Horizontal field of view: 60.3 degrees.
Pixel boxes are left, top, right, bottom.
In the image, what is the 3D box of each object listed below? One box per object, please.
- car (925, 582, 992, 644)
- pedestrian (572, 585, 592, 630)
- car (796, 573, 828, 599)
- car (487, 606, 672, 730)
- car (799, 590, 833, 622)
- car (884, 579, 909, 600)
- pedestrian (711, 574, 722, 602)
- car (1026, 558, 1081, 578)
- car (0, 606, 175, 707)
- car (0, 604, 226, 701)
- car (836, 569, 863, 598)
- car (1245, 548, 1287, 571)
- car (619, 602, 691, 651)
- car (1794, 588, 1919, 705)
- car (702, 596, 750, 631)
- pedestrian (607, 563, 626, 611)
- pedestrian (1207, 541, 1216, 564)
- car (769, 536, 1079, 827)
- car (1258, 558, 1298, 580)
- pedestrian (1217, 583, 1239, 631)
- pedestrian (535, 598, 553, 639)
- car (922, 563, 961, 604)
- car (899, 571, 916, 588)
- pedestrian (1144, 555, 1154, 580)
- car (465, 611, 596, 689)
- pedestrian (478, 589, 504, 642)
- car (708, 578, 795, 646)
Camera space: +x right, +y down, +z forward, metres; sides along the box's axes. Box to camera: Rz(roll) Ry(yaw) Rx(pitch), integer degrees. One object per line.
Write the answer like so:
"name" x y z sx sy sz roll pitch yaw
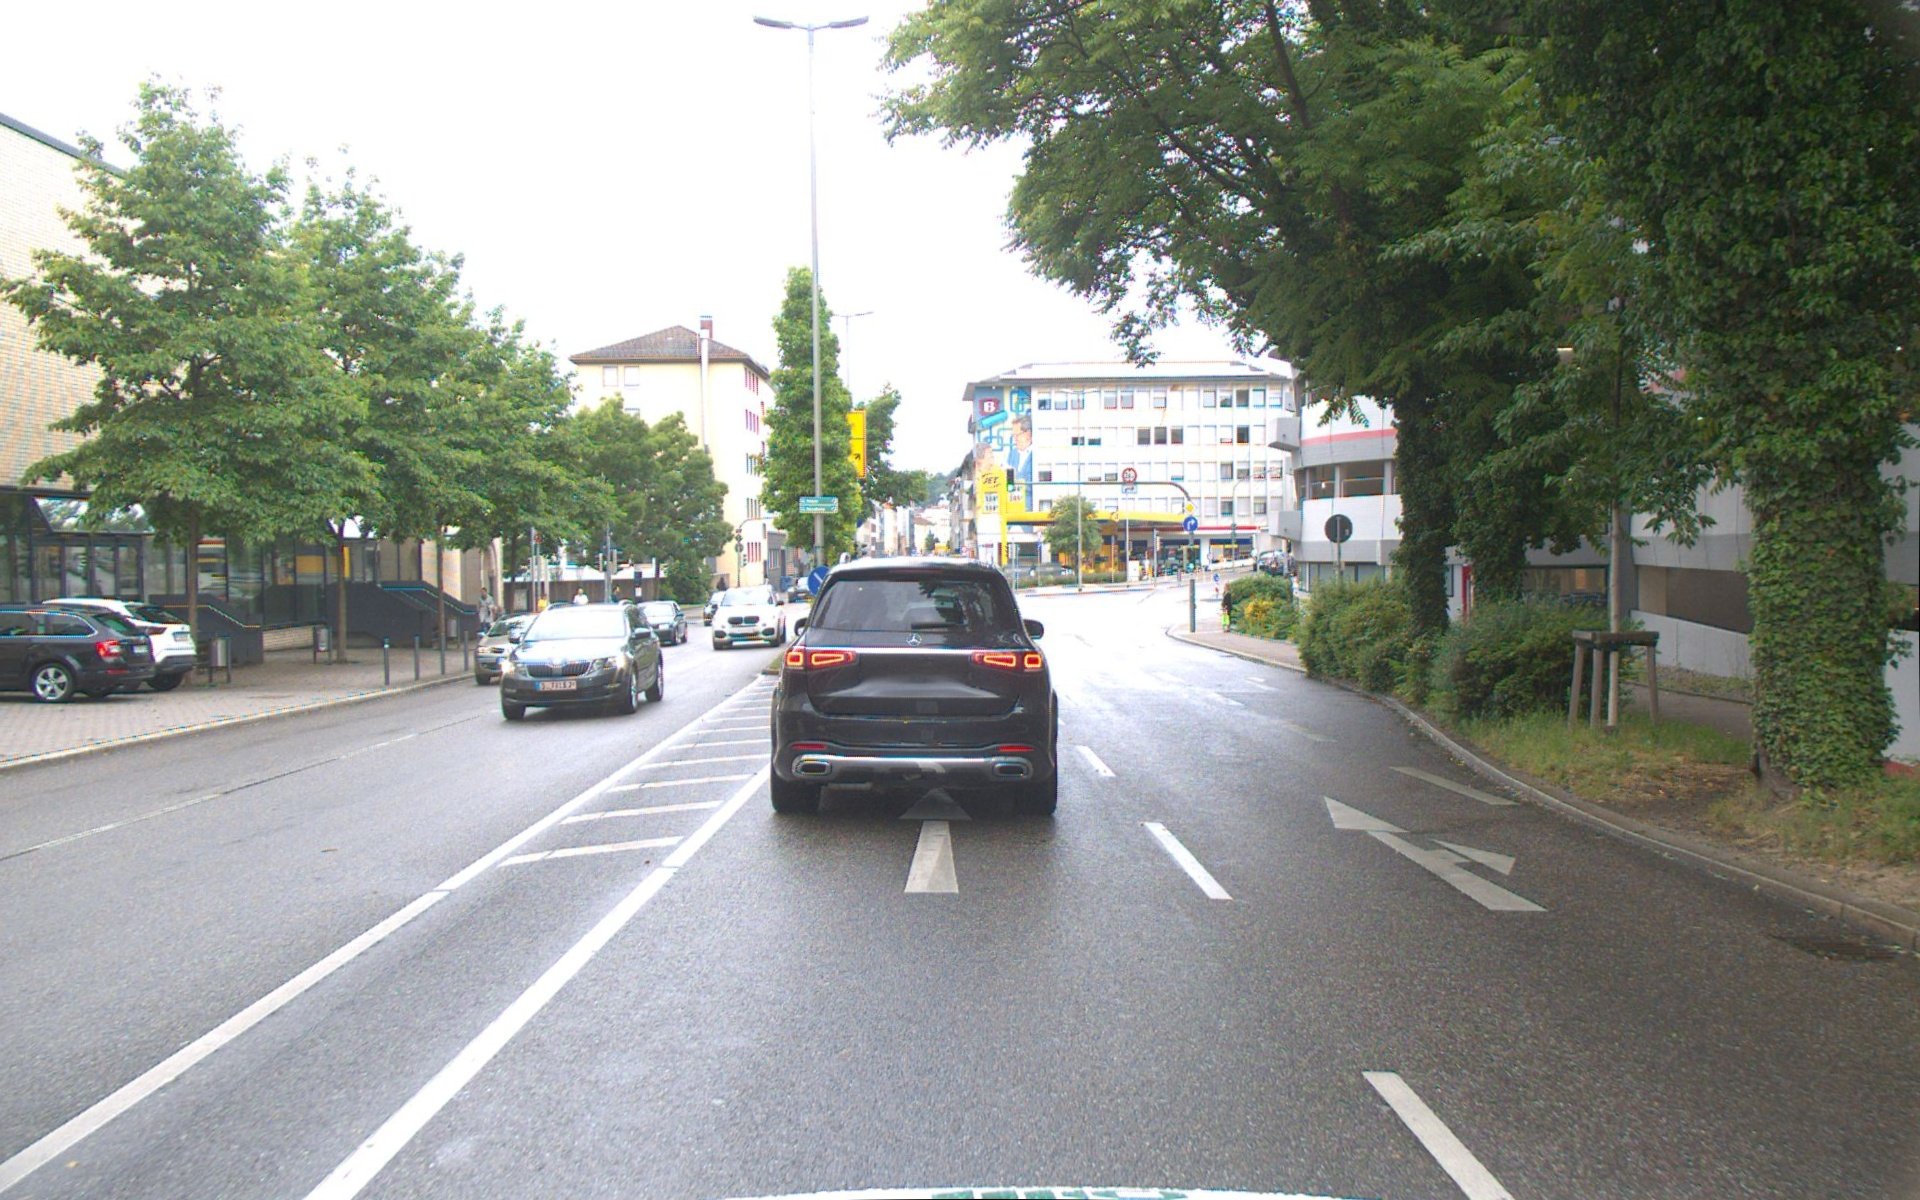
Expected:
"car" -0.073 0.414 51.604 1.953 1.832 3.999 1 -1 -1
"pedestrian" -14.639 0.282 64.054 0.676 1.685 0.612 -1 1 -8
"car" -9.811 -0.924 109.976 1.851 1.614 4.535 -3 0 -2
"car" -5.237 0.877 23.307 1.776 1.488 4.285 -3 0 -3
"car" -8.042 0.318 92.868 1.698 1.654 4.229 -3 1 -3
"car" -5.144 -0.839 134.075 1.954 1.642 4.186 1 0 -3
"pedestrian" -15.396 -0.740 104.512 0.635 1.757 0.628 -2 1 -5
"car" 6.967 -2.400 123.105 1.724 1.400 3.935 -2 1 -44
"car" -15.088 0.868 26.473 4.097 1.521 1.997 1 -1 -8
"car" -15.290 0.882 28.772 4.090 1.574 2.000 1 -1 0
"car" -7.756 -1.158 116.243 1.757 1.886 4.790 -3 0 -3
"car" 24.704 -3.273 133.368 1.958 1.735 3.990 -1 1 33
"car" -9.915 0.822 53.955 1.710 1.437 3.969 -3 0 -3
"car" 15.520 0.717 26.621 3.381 1.814 1.817 0 0 11
"car" -10.326 0.598 73.346 1.698 1.418 4.197 -3 0 -3
"pedestrian" -12.844 -0.501 61.920 0.675 1.788 0.716 -1 1 -12
"pedestrian" 19.995 -3.769 131.606 0.515 1.757 0.688 0 1 26
"car" -0.254 0.538 12.573 1.953 1.832 3.999 1 -1 -1
"car" 23.355 -2.263 121.459 1.762 1.552 4.050 1 1 27
"pedestrian" 9.707 0.249 59.945 0.634 1.740 0.470 0 -1 35
"pedestrian" -16.143 0.721 64.201 0.429 1.560 0.546 -1 1 13
"car" -1.003 -0.830 87.285 1.953 2.049 3.999 1 -1 -1
"car" -6.660 -2.543 208.724 1.953 2.049 4.000 1 -1 0
"pedestrian" 13.144 -2.254 115.059 0.560 1.727 0.631 1 -1 0
"car" -9.024 1.007 35.087 1.793 1.412 4.227 -3 0 -3
"pedestrian" -15.255 0.515 53.850 0.630 1.695 1.017 1 -1 -7
"car" -6.156 0.323 49.250 1.852 1.843 4.575 -3 0 1
